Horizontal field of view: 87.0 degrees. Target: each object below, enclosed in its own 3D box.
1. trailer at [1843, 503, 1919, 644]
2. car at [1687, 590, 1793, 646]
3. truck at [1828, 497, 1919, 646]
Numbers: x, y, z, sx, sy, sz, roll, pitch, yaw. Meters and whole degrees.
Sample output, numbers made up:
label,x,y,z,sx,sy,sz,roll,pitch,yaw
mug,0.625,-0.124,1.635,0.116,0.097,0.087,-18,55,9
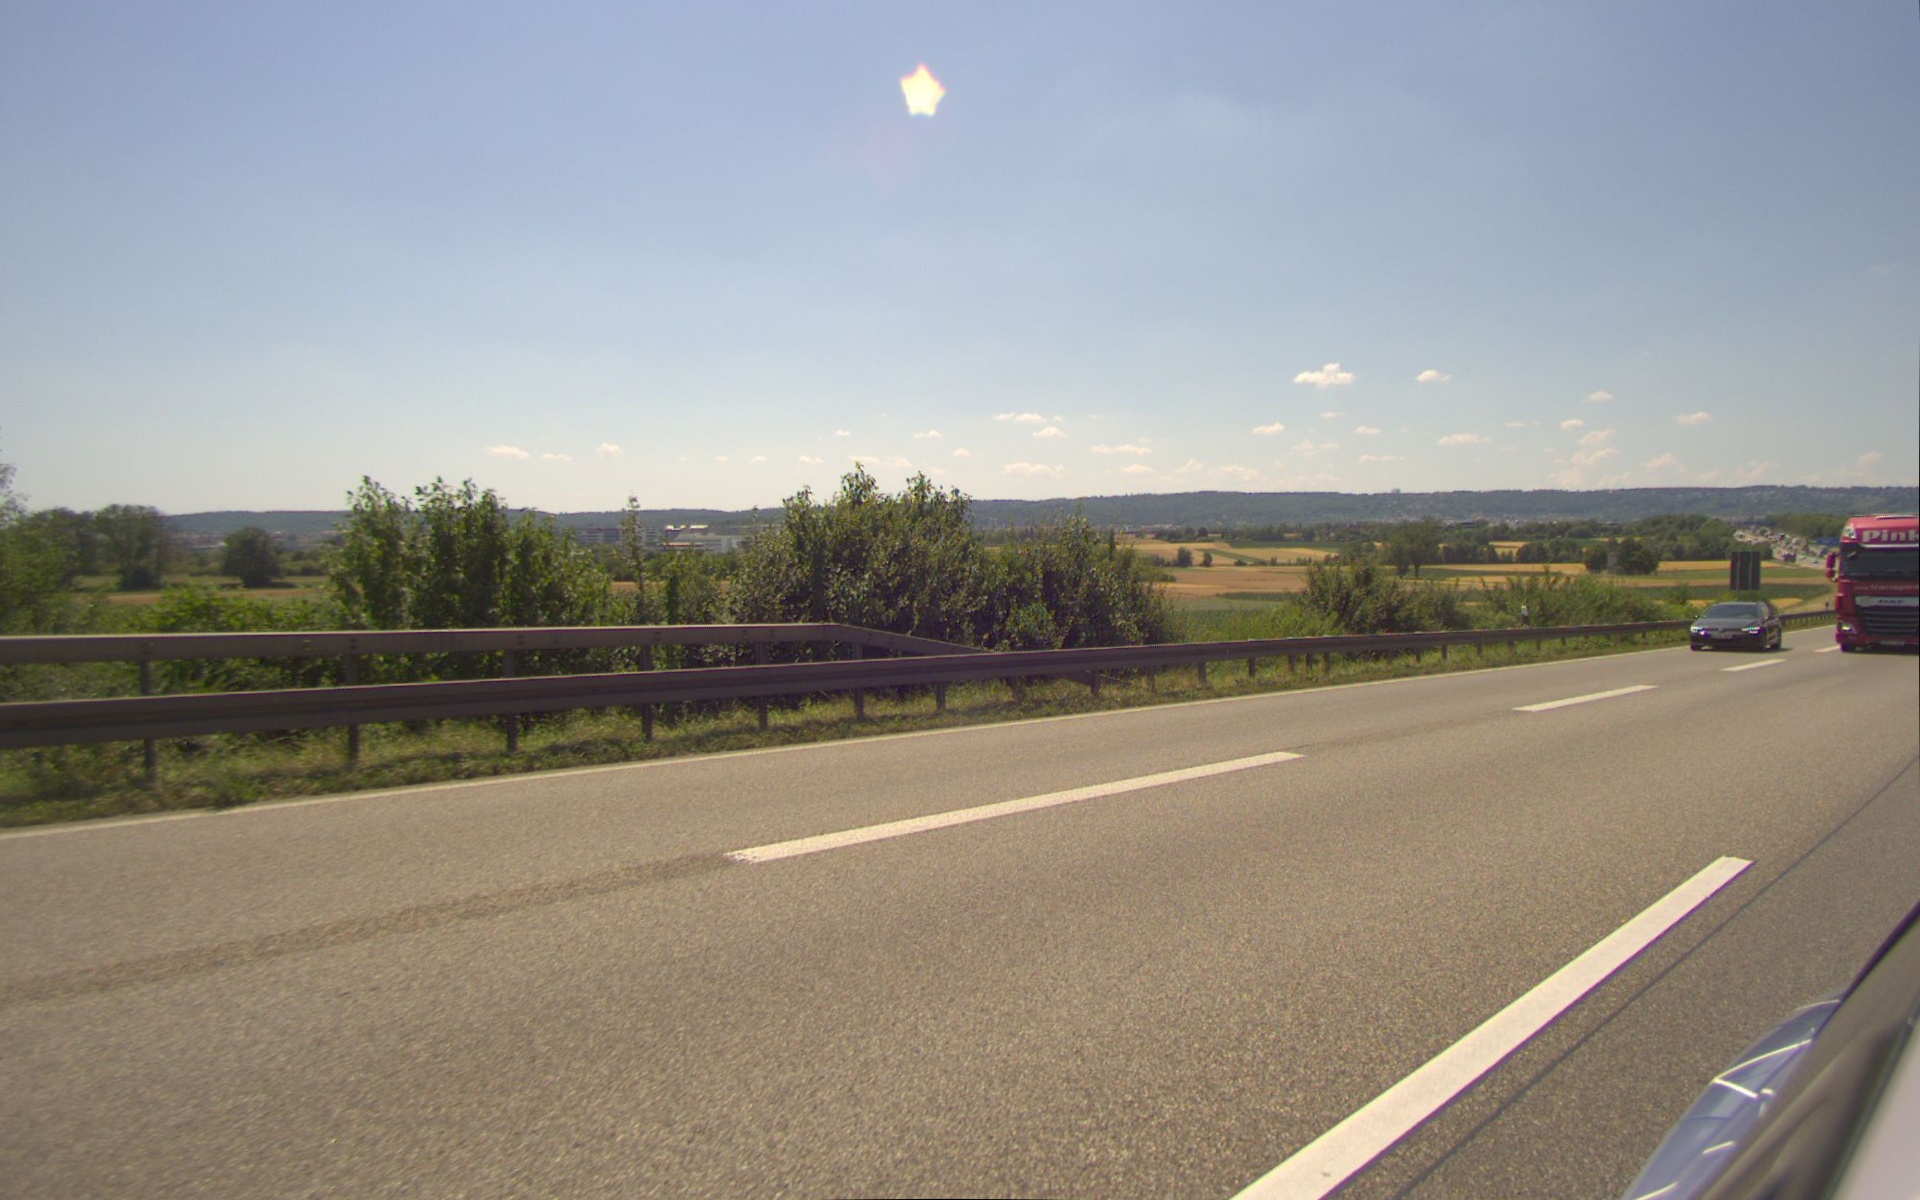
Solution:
label,x,y,z,sx,sy,sz,roll,pitch,yaw
trailer,33.306,-0.940,34.802,13.624,4.169,2.922,-2,1,-43
car,23.606,0.493,30.588,3.934,1.571,2.033,0,0,-44
truck,28.173,-0.842,30.042,6.402,4.059,2.919,-2,0,-43
